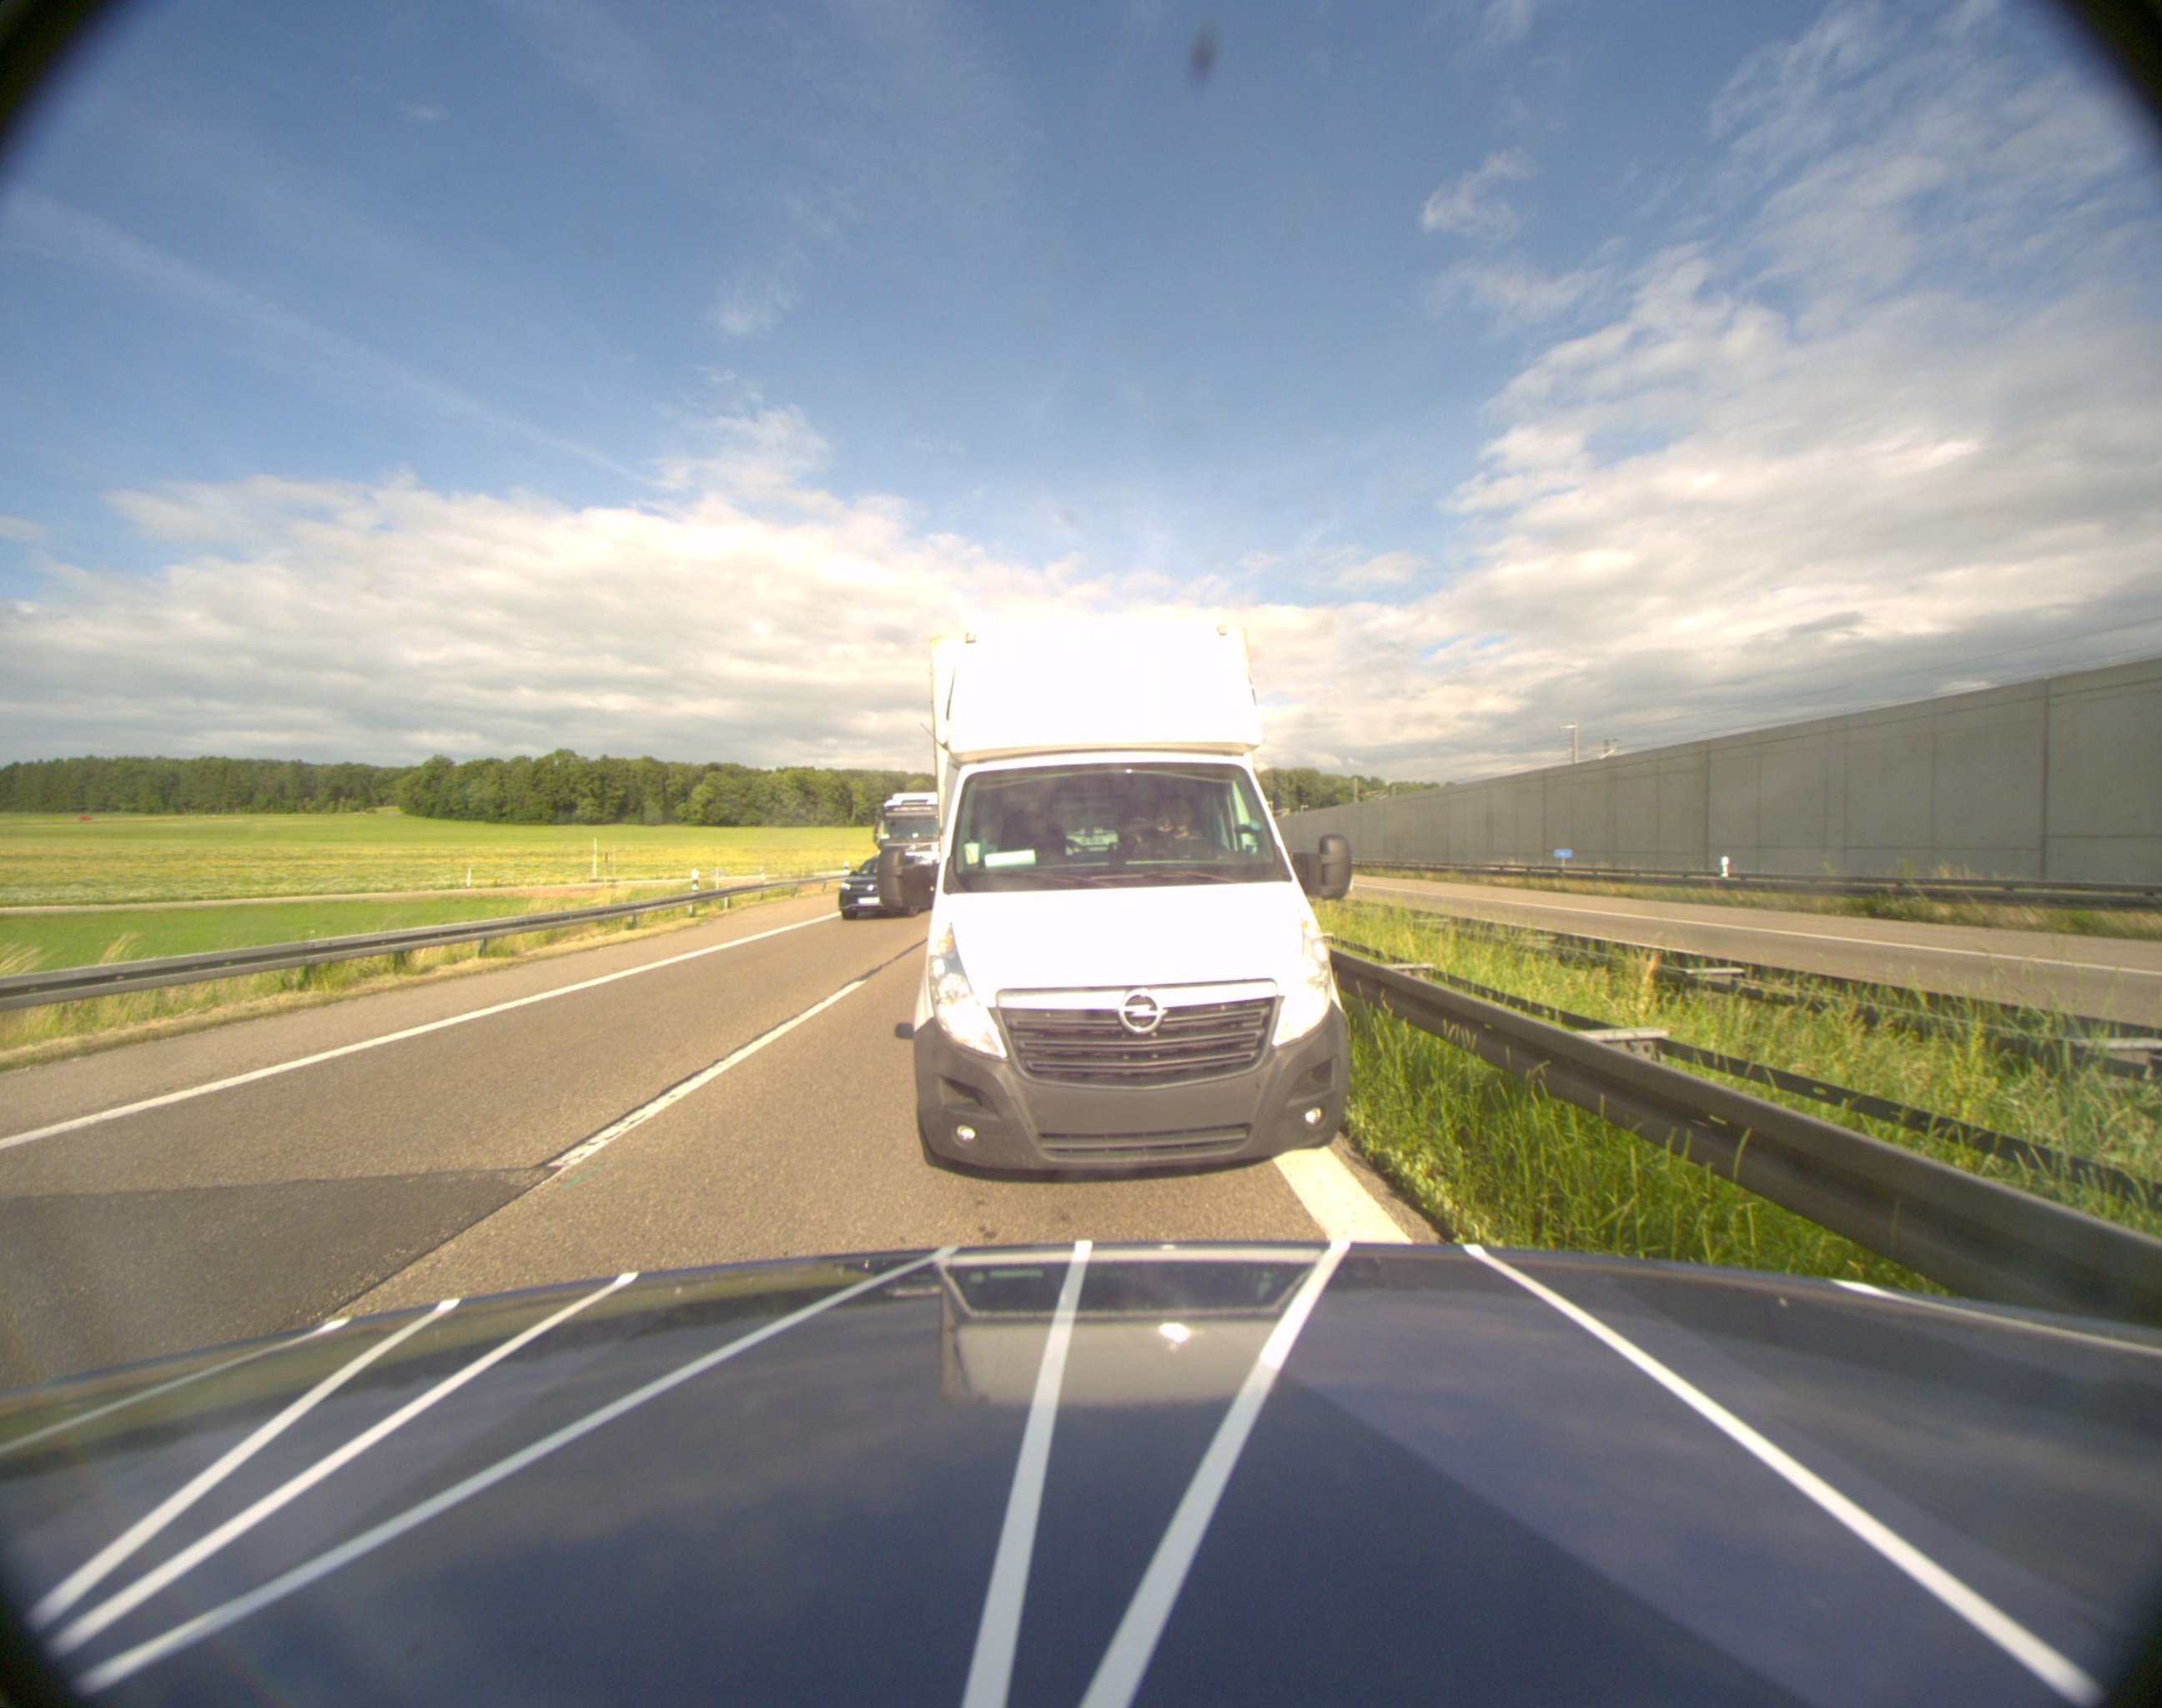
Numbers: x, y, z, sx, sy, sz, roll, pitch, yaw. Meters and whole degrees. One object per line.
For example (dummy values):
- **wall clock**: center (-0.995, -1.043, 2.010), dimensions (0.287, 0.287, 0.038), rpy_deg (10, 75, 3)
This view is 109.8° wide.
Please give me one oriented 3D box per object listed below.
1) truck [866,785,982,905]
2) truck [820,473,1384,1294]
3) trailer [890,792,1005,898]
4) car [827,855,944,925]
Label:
- **truck**: center (-5.782, -0.343, 29.158), dimensions (2.842, 3.967, 6.500), rpy_deg (-2, 1, 1)
- **truck**: center (0.141, 0.088, 6.820), dimensions (2.060, 3.088, 7.803), rpy_deg (-2, 1, 1)
- **trailer**: center (-5.704, -0.413, 35.012), dimensions (2.826, 3.959, 12.127), rpy_deg (-2, 1, 1)
- **car**: center (-5.134, 0.885, 20.591), dimensions (1.998, 1.587, 4.118), rpy_deg (-2, 1, 1)
